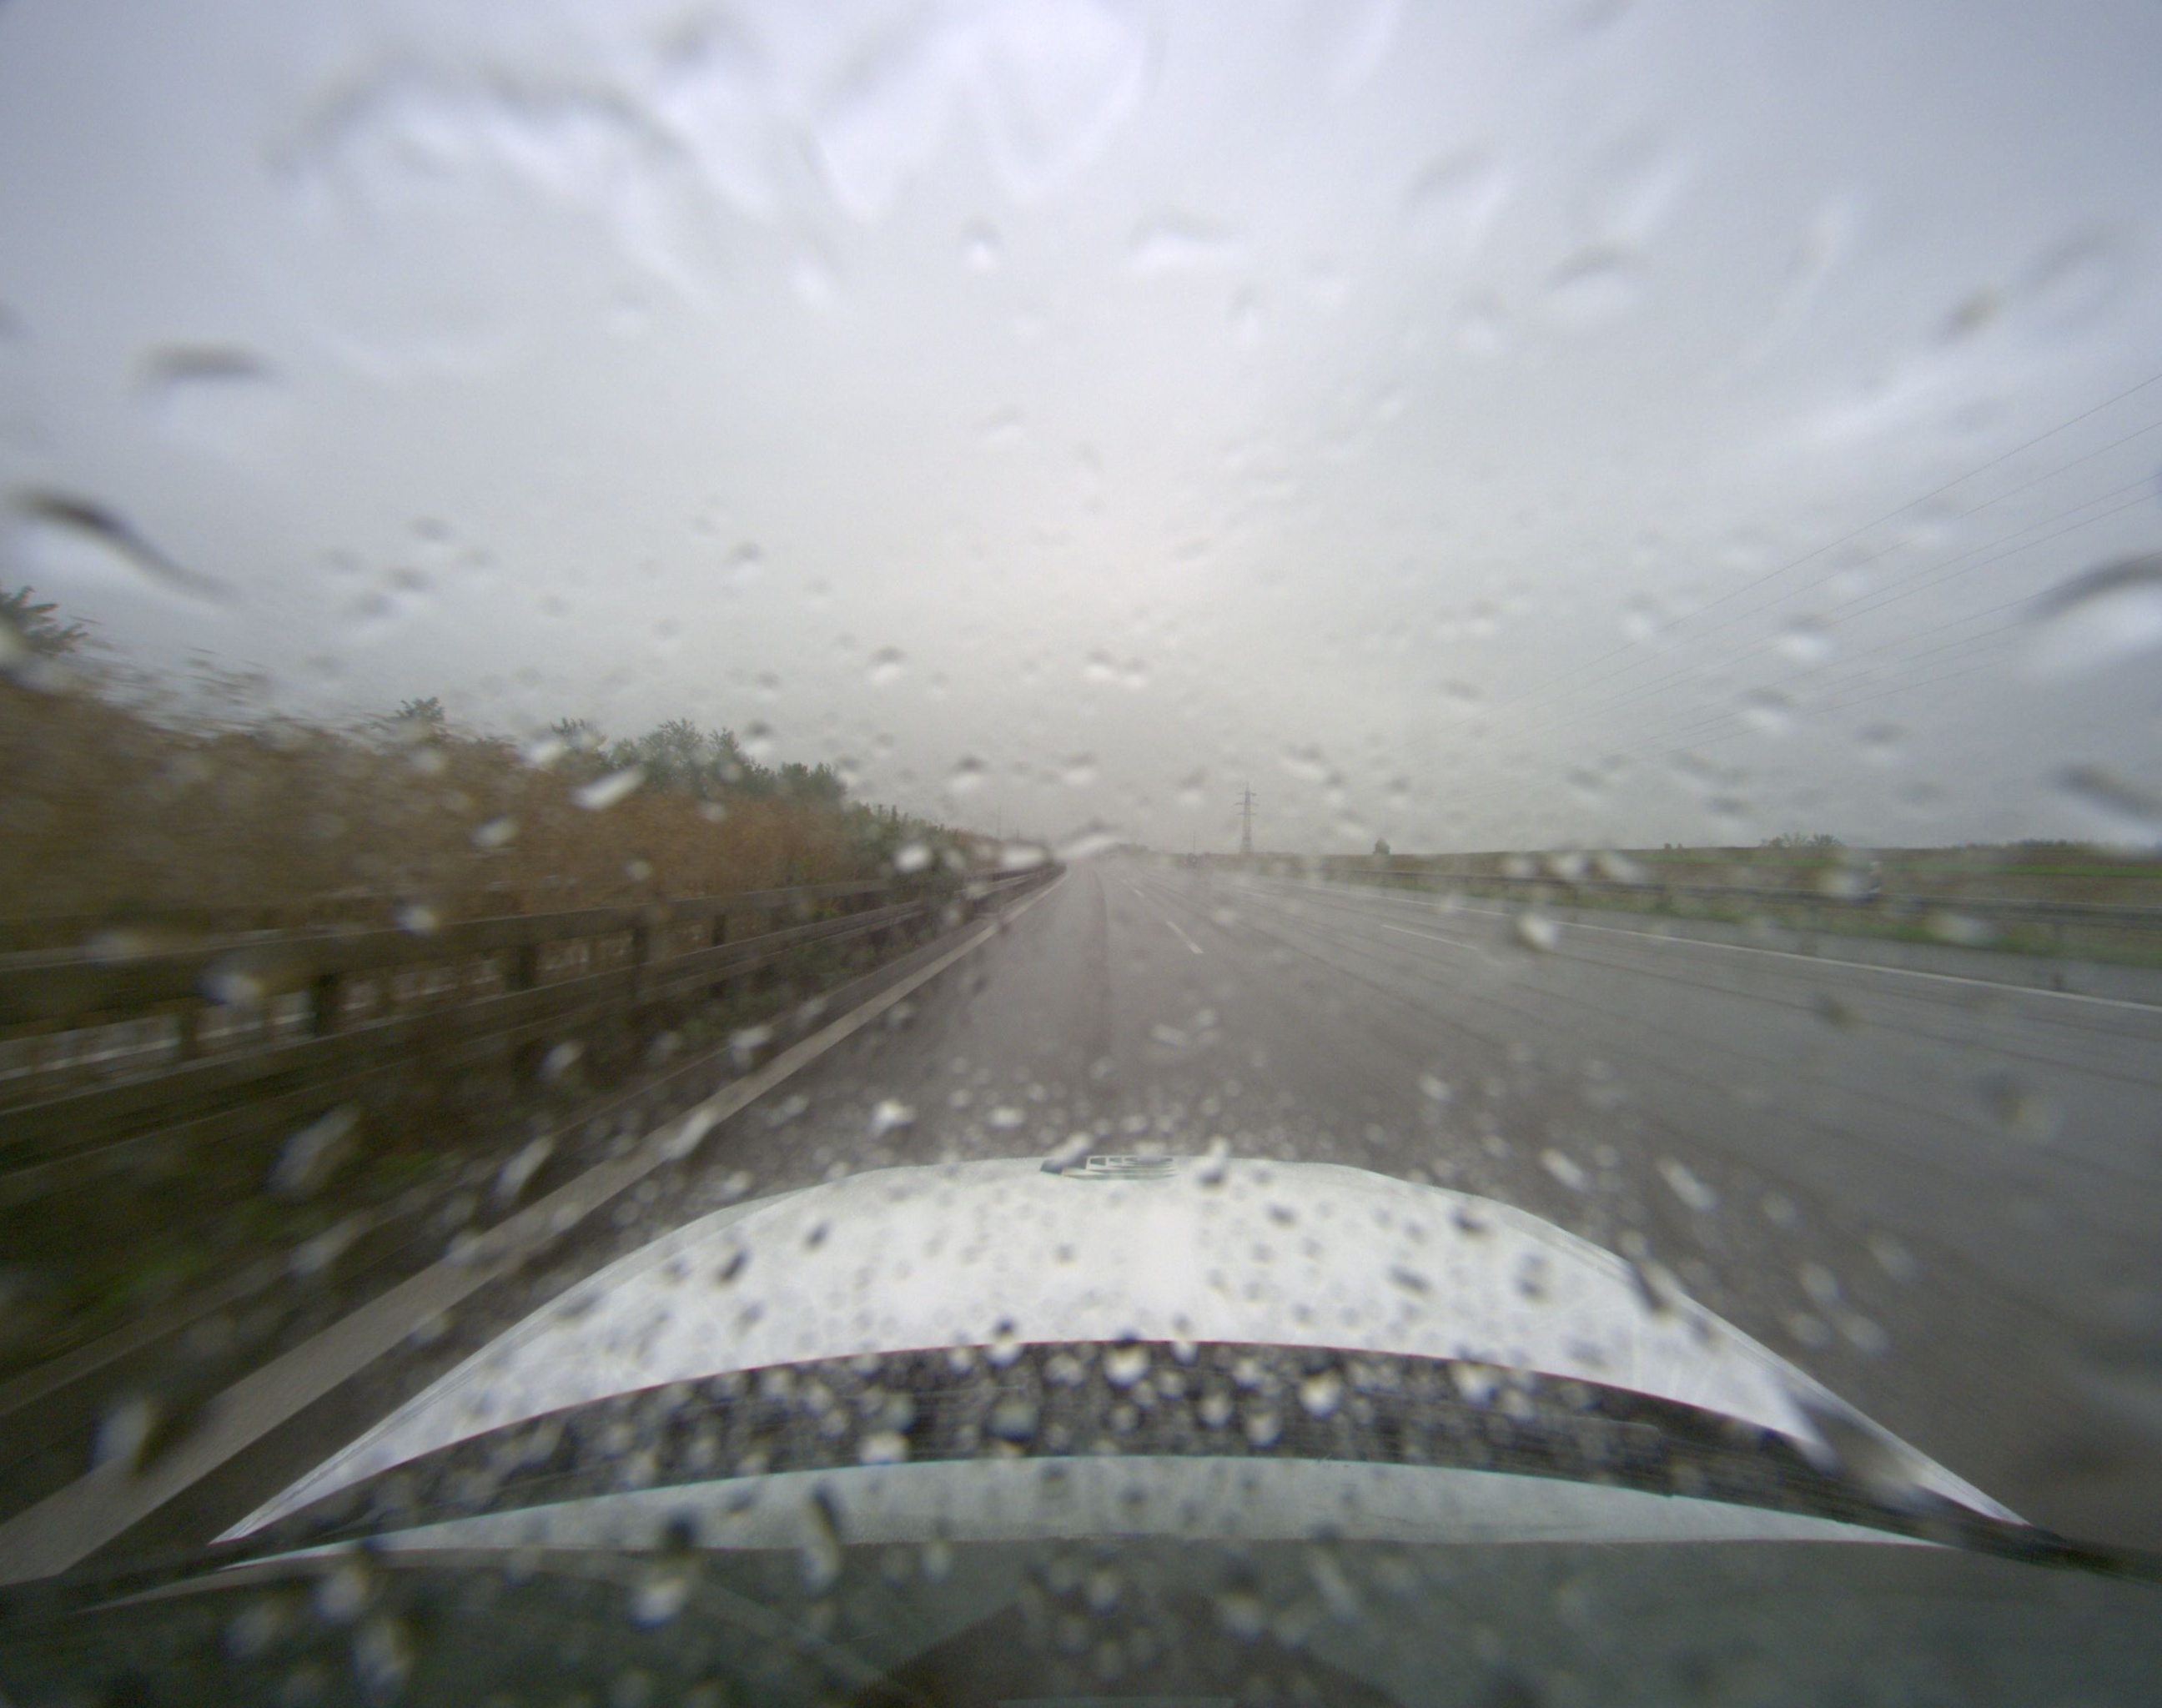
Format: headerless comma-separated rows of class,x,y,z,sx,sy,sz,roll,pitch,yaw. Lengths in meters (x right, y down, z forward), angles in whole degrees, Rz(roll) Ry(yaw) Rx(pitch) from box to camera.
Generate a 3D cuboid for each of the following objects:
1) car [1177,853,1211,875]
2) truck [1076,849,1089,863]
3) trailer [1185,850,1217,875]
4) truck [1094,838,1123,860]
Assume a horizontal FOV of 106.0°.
car,8.921,0.826,64.802,1.987,1.619,4.990,-1,-1,-1
truck,0.318,0.550,255.120,3.227,4.311,8.820,0,-1,-5
trailer,8.913,0.663,60.707,1.972,1.785,3.188,-1,-1,0
truck,6.072,-1.006,184.140,4.184,4.630,16.068,0,-1,-6
